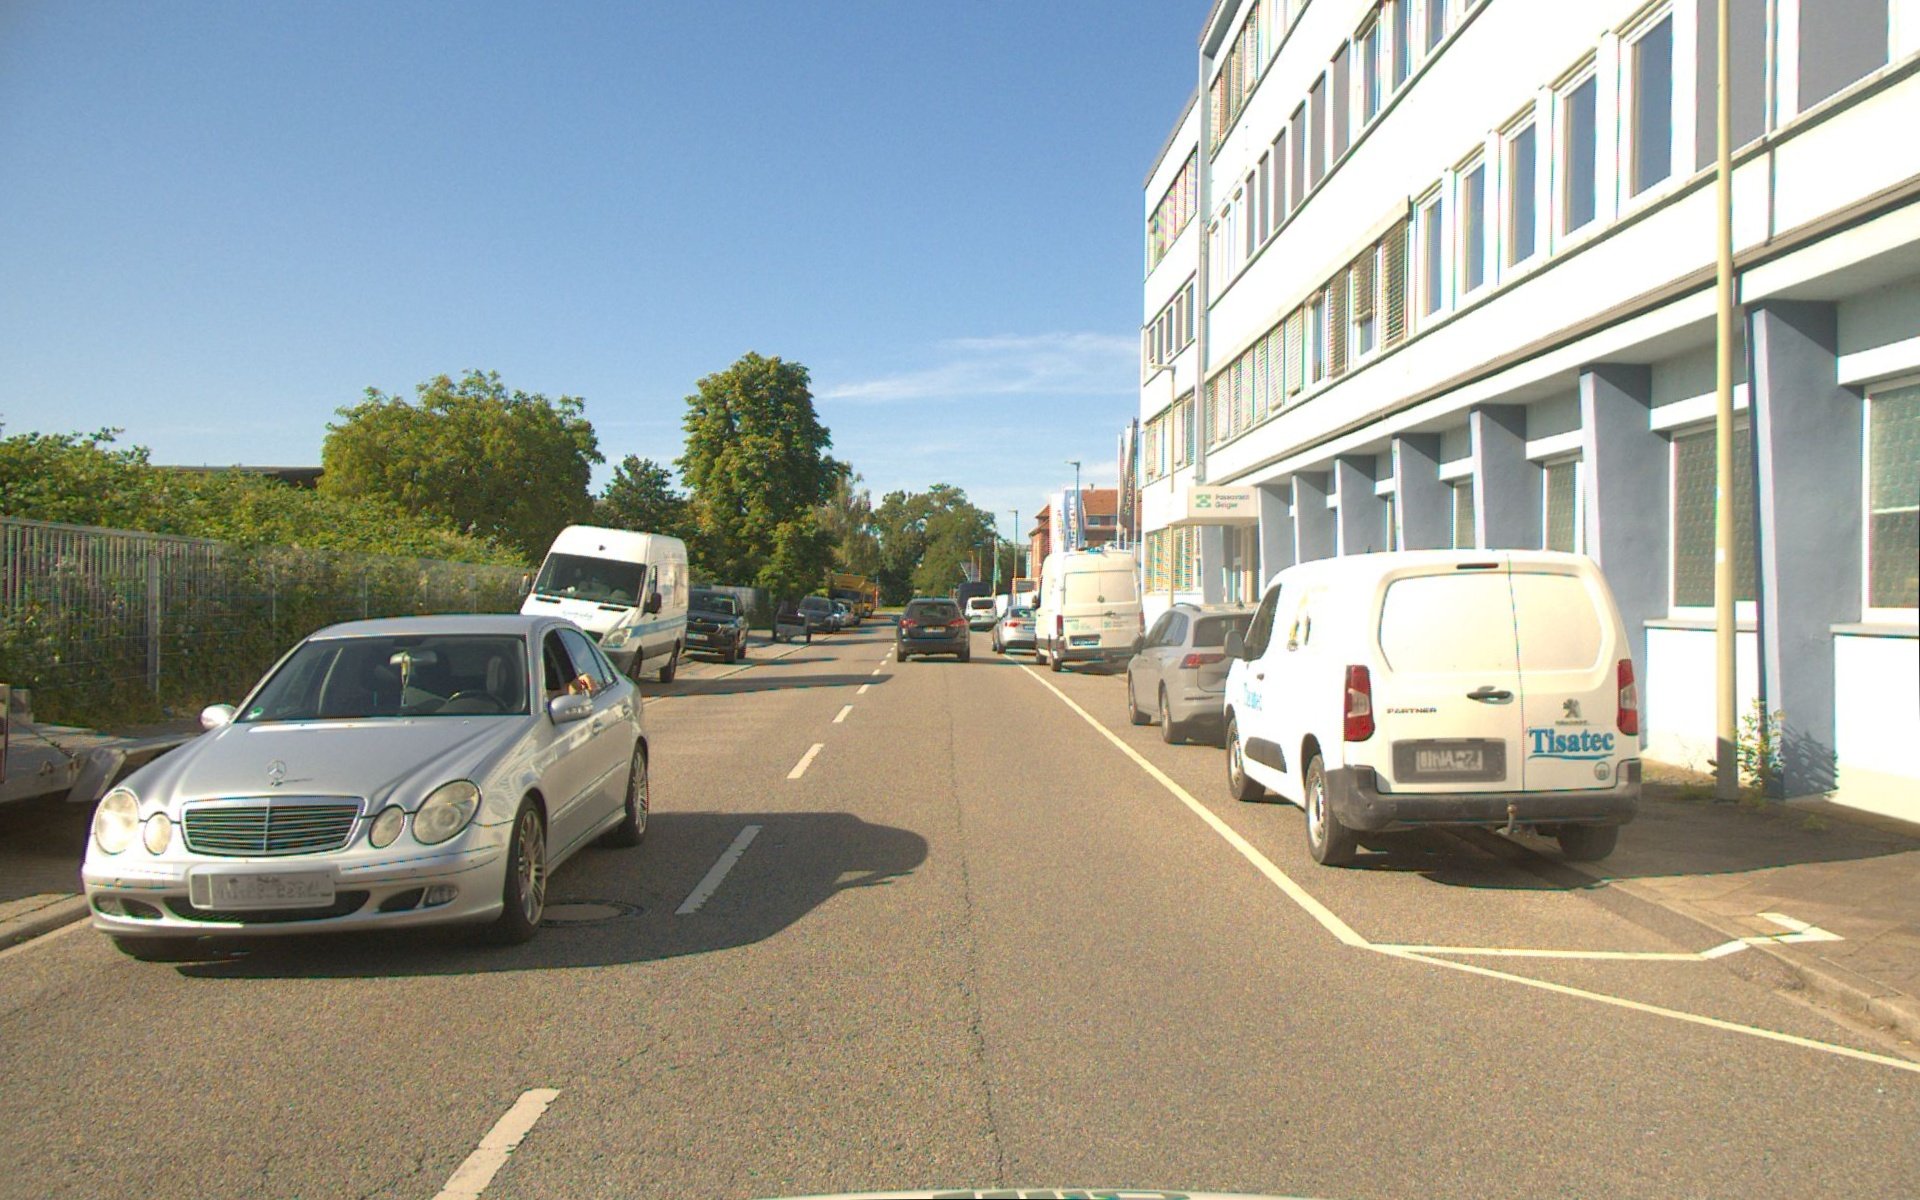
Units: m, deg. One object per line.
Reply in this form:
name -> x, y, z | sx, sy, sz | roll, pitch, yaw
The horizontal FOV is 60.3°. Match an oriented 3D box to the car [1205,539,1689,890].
car -> 2.990, 0.611, 11.416 | 1.850, 1.864, 5.090 | 1, 0, 0

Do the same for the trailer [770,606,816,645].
trailer -> -6.312, 0.944, 62.871 | 1.447, 1.378, 3.078 | 2, 0, -1

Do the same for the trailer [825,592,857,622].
trailer -> -7.968, 0.493, 111.007 | 1.953, 1.975, 4.414 | 0, 0, -1

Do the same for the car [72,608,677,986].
car -> -2.711, 0.801, 8.799 | 1.711, 1.473, 4.359 | 1, 0, -1

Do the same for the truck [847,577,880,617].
truck -> -9.658, -0.360, 165.480 | 2.579, 3.564, 8.655 | 6, 1, -1

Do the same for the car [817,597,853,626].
car -> -7.918, 0.725, 105.080 | 1.869, 1.620, 5.024 | 4, 0, -1

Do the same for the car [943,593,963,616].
car -> -0.687, 0.439, 159.606 | 1.836, 2.049, 5.159 | 2, 0, -1

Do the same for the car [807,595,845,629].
car -> -7.408, 0.636, 91.720 | 1.871, 1.691, 4.460 | 4, 0, -4

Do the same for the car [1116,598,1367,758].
car -> 3.066, 0.780, 19.129 | 1.851, 1.588, 5.088 | 1, 0, -2

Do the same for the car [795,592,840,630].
car -> -6.896, 0.508, 80.485 | 1.755, 1.761, 4.802 | 0, 0, 0

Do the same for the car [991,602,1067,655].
car -> 1.974, 0.811, 48.797 | 1.856, 1.430, 5.122 | 2, 0, -2

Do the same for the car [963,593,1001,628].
car -> 1.190, 0.600, 93.132 | 1.848, 1.829, 5.101 | 2, 0, -2

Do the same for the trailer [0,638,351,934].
trailer -> -5.872, 0.977, 9.758 | 2.328, 1.098, 6.244 | 4, 1, -2

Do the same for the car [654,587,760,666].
car -> -6.286, 0.615, 41.644 | 1.990, 1.723, 5.104 | 4, 0, -3

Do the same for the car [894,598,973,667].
car -> -0.627, 0.738, 39.962 | 1.809, 1.557, 3.999 | 0, 0, -1

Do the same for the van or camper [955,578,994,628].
van or camper -> 0.838, 0.198, 99.566 | 2.097, 2.808, 6.159 | 2, -1, -1

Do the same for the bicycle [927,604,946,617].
bicycle -> -2.490, 1.085, 174.124 | 0.797, 1.290, 2.230 | 2, -1, -36

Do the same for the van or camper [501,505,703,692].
van or camper -> -6.029, -0.038, 28.685 | 1.926, 2.731, 5.948 | 5, 0, 0

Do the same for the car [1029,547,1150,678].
car -> 2.817, 0.202, 37.387 | 1.953, 2.643, 6.048 | -2, 1, -2

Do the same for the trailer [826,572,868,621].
trailer -> -8.272, -0.240, 121.912 | 2.931, 3.503, 8.157 | 0, 0, -2
